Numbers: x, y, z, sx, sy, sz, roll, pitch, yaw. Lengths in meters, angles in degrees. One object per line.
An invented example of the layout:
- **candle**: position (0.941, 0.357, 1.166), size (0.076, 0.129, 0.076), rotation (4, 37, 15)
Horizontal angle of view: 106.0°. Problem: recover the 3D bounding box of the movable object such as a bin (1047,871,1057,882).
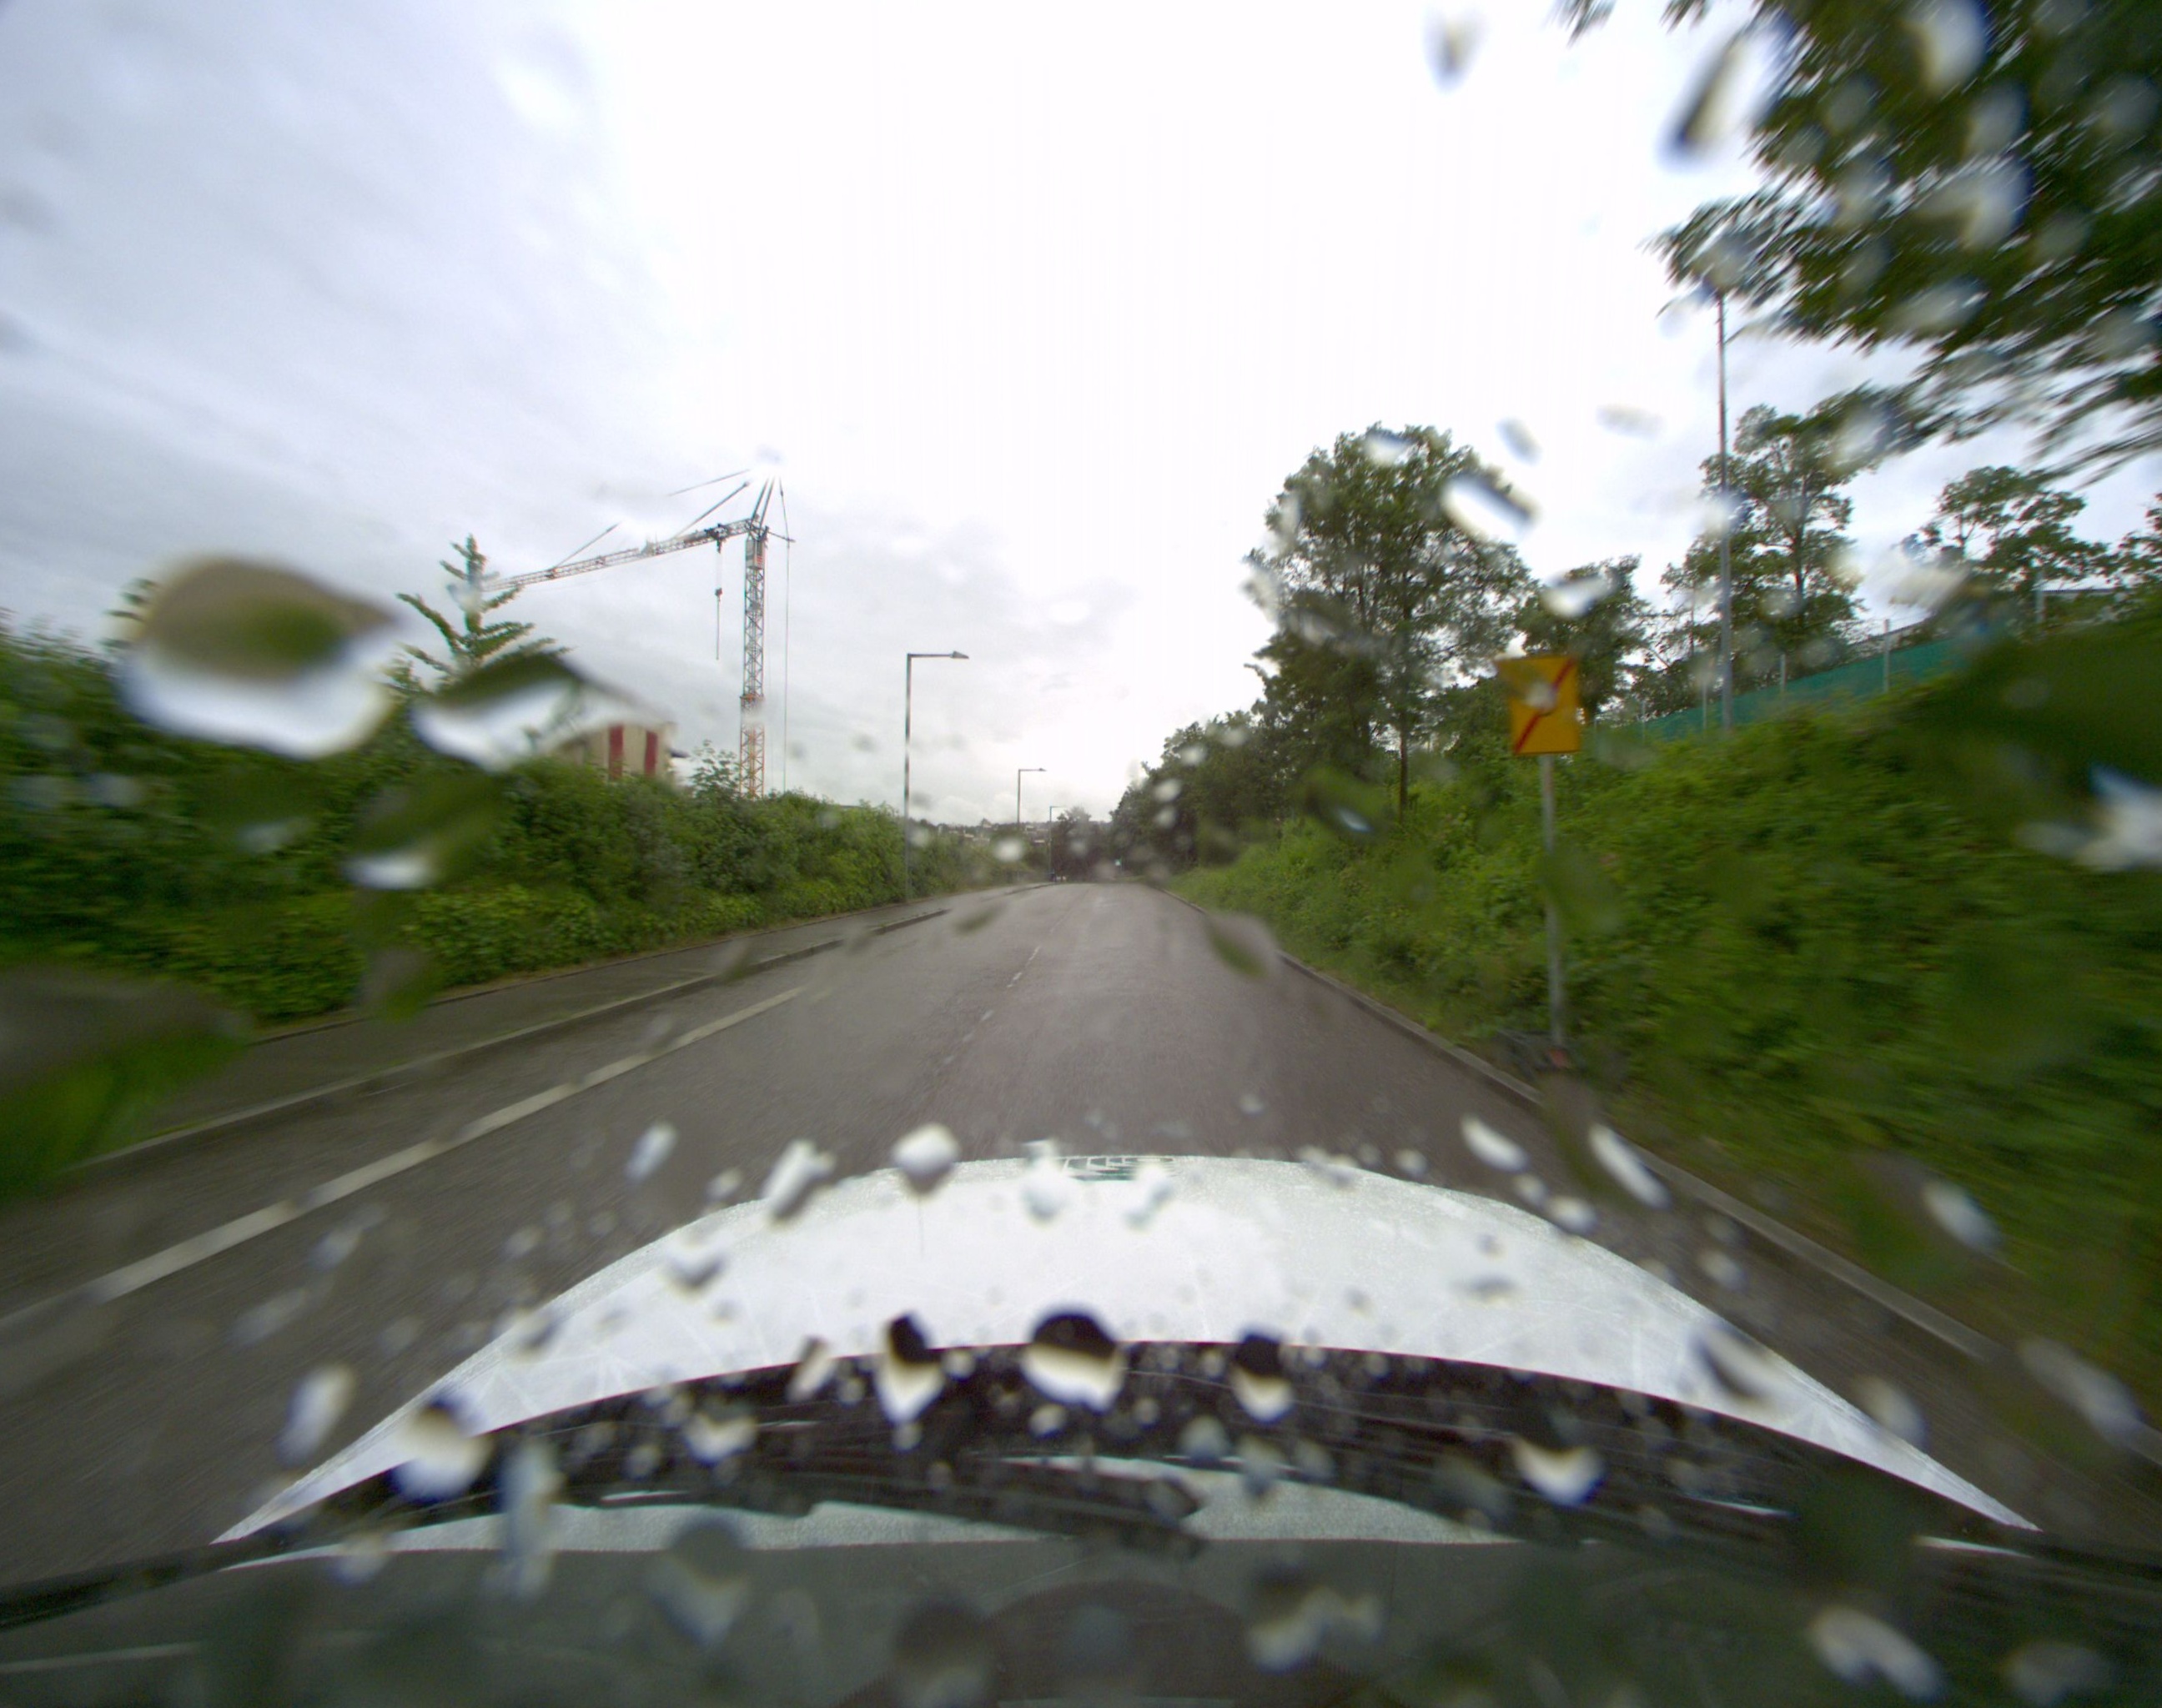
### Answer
- **movable object such as a bin**: position (-3.749, 2.951, 106.883), size (1.130, 1.339, 1.395), rotation (3, -3, -8)
